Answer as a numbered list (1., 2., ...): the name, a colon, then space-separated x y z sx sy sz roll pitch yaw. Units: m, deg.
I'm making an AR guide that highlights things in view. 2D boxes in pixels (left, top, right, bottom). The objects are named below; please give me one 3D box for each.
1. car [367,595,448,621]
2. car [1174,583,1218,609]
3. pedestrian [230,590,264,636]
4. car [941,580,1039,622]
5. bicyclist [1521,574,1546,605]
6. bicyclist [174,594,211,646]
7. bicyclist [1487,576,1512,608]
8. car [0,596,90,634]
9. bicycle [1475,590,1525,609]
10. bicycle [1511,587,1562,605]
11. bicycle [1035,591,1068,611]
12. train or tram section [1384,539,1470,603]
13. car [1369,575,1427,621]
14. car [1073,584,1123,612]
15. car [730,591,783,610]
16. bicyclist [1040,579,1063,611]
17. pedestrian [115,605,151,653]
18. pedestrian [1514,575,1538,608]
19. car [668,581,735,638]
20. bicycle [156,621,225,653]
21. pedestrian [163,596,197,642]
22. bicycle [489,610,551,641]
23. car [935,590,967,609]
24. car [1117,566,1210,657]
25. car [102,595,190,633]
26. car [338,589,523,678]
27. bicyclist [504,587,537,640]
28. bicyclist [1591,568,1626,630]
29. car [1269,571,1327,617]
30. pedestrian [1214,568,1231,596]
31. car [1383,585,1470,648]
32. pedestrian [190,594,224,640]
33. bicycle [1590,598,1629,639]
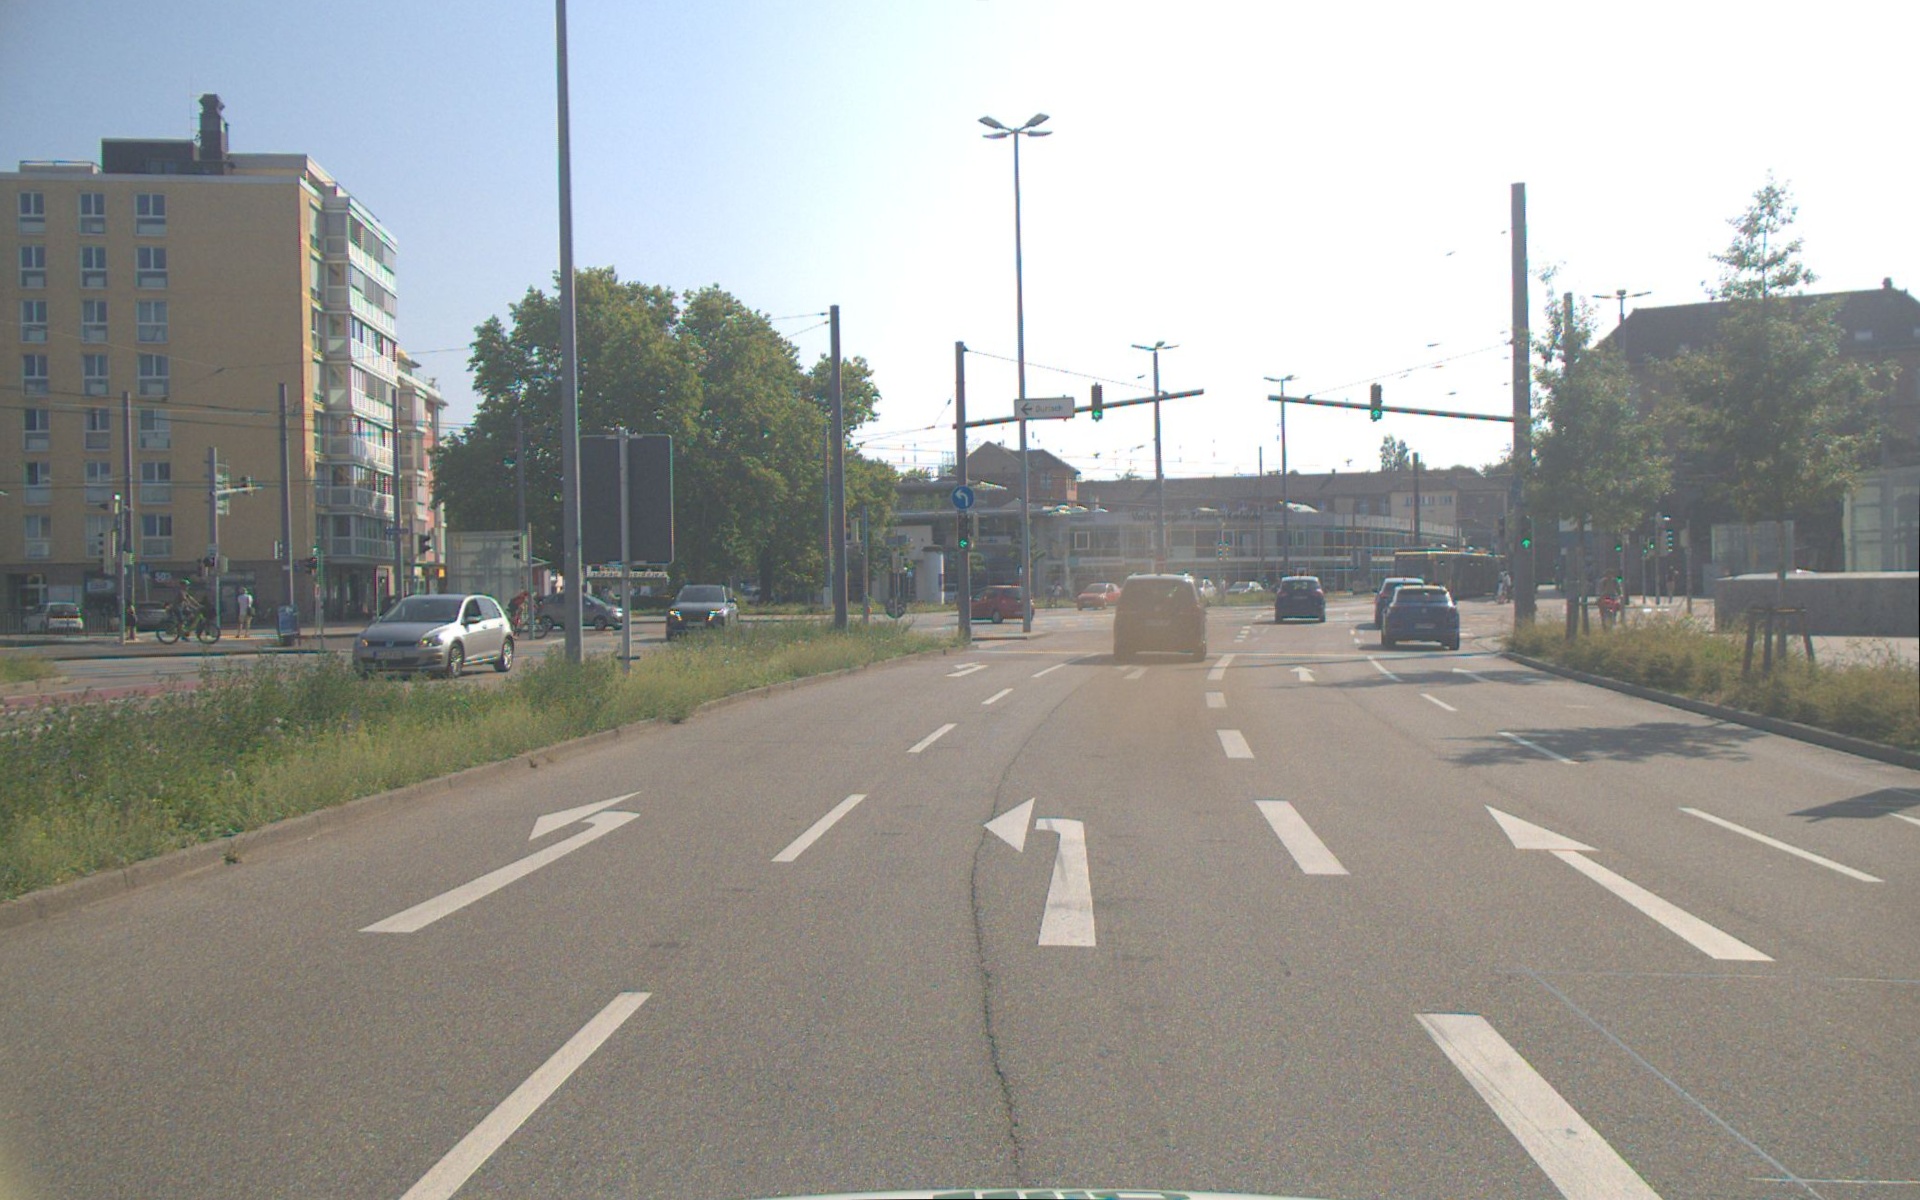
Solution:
1. car: -30.569 0.434 91.593 4.080 1.378 1.478 -1 0 -9
2. car: 14.592 -0.266 101.981 1.582 1.501 3.998 -3 -1 24
3. pedestrian: -26.831 0.473 62.254 0.904 1.719 0.921 -1 0 -8
4. car: 1.145 0.046 65.453 1.808 1.562 4.364 -2 1 -32
5. bicyclist: 32.952 -0.602 94.997 0.918 1.709 1.089 -1 0 -14
6. bicyclist: -23.602 0.616 50.845 0.778 1.554 0.726 -1 0 -2
7. bicyclist: 30.631 -0.458 93.884 0.918 1.831 1.089 -1 0 -14
8. car: -42.578 0.690 76.874 4.457 1.708 1.994 0 0 35
9. bicycle: 30.652 -0.030 93.893 2.574 0.981 1.089 -1 0 -15
10. bicycle: 33.141 -0.232 95.054 2.574 0.981 1.089 -1 0 -15
11. bicycle: 5.273 0.044 94.994 0.939 1.075 2.606 0 0 25
12. train or tram section: 29.198 -1.844 103.074 2.605 3.763 10.569 -1 1 30
13. car: 14.781 -0.085 55.973 1.786 1.453 4.416 -1 1 14
14. car: 7.904 -0.147 94.443 1.582 1.501 3.998 -3 -1 24
15. car: -17.211 0.028 140.117 1.674 1.549 4.490 0 0 41
16. bicyclist: 5.259 -0.295 94.966 0.939 1.779 1.165 -1 0 26
17. pedestrian: -30.723 1.067 61.437 0.904 1.719 0.921 -1 0 -8
18. pedestrian: 31.710 -0.500 92.637 0.916 1.828 0.851 -1 0 -31
19. car: -7.888 0.264 50.696 1.661 1.645 4.457 -1 0 -5
20. bicycle: -23.652 1.133 50.851 1.776 0.948 0.726 -1 0 -2
21. pedestrian: -29.478 0.714 62.528 0.904 1.719 0.921 -1 0 -8
22. bicycle: -14.051 0.812 52.831 1.776 0.948 0.726 -1 0 -2
23. car: -0.754 -0.043 135.619 1.663 1.549 4.103 -1 0 14
24. car: 4.253 0.189 34.405 1.786 1.744 4.416 0 1 8
25. car: -37.975 0.650 77.164 4.463 1.708 1.991 0 0 39
26. car: -9.490 0.551 30.021 1.775 1.458 4.226 -1 0 3
27. bicyclist: -14.032 0.423 52.834 0.863 1.681 0.726 -1 0 -2
28. bicyclist: 16.660 -0.028 42.486 0.704 1.539 1.005 -1 0 16
29. car: 12.233 -0.227 59.626 1.786 1.562 4.416 -1 1 15
30. pedestrian: 14.540 -0.987 91.622 0.761 1.529 0.710 -1 0 21
31. car: 11.770 0.377 41.919 1.786 1.453 4.416 -1 1 12
32. pedestrian: -28.400 0.626 62.382 0.904 1.719 0.921 -1 0 -8
33. bicycle: 16.666 0.464 42.473 0.704 0.976 1.923 -1 0 16
